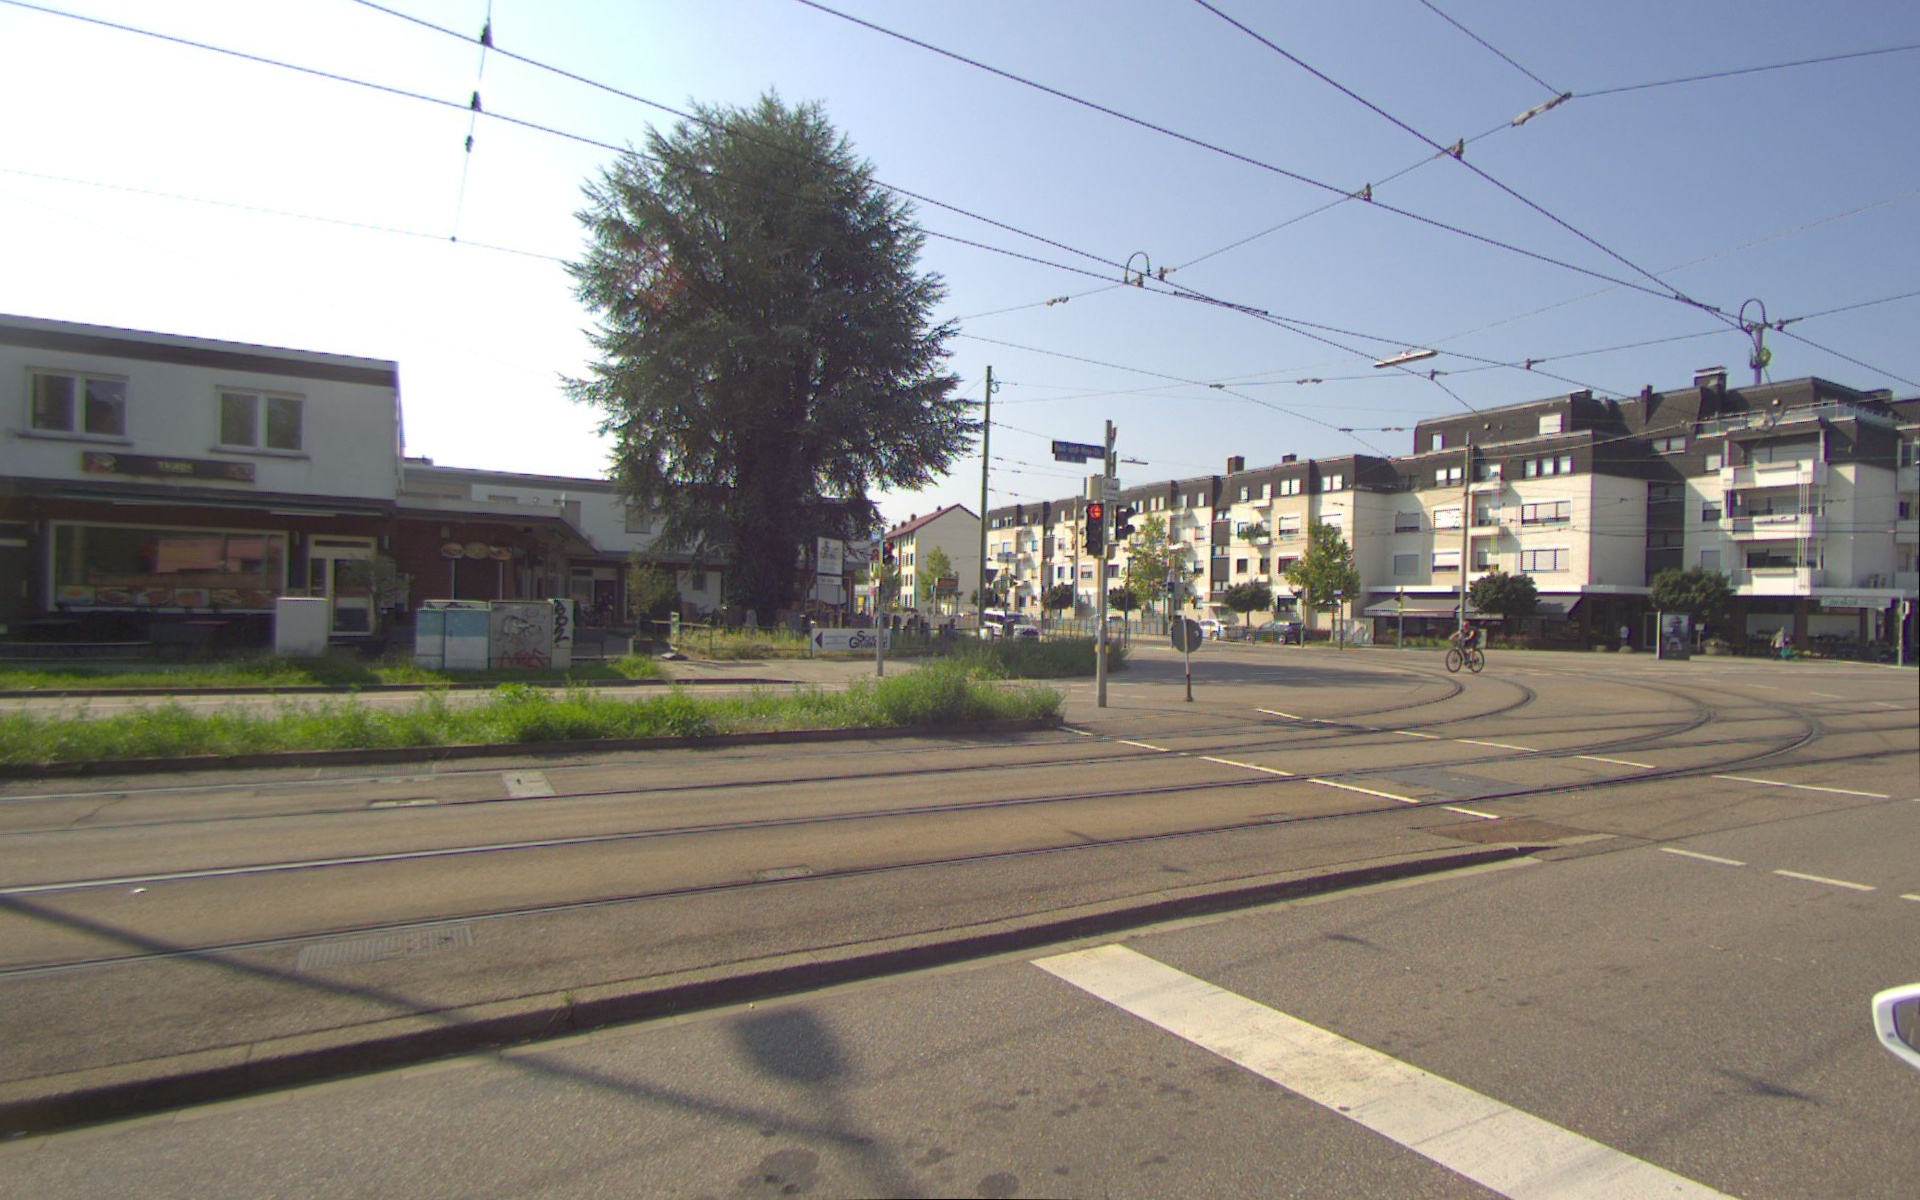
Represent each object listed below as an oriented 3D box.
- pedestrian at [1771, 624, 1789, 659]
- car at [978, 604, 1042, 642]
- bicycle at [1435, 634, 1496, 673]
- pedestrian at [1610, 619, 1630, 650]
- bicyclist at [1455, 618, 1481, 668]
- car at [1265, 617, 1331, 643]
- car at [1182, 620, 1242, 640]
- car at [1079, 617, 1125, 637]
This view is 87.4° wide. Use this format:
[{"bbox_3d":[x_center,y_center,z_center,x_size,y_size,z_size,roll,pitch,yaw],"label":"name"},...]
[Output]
[{"bbox_3d":[41.694,2.088,51.054,0.589,1.768,0.565,0,-2,28],"label":"pedestrian"},{"bbox_3d":[2.716,1.247,55.507,1.800,1.911,3.999,1,0,-26],"label":"car"},{"bbox_3d":[16.055,1.682,31.884,2.180,1.195,0.573,1,-2,-27],"label":"bicycle"},{"bbox_3d":[37.782,1.960,57.495,0.689,1.764,0.677,2,-2,-28],"label":"pedestrian"},{"bbox_3d":[16.158,1.366,31.923,0.483,1.543,0.566,2,-2,-27],"label":"bicyclist"},{"bbox_3d":[23.213,2.075,69.089,1.907,1.527,4.090,2,1,-29],"label":"car"},{"bbox_3d":[17.232,2.074,68.750,1.653,1.316,4.091,2,-2,-29],"label":"car"},{"bbox_3d":[11.320,2.167,80.408,1.653,1.500,3.888,2,-2,-29],"label":"car"}]
